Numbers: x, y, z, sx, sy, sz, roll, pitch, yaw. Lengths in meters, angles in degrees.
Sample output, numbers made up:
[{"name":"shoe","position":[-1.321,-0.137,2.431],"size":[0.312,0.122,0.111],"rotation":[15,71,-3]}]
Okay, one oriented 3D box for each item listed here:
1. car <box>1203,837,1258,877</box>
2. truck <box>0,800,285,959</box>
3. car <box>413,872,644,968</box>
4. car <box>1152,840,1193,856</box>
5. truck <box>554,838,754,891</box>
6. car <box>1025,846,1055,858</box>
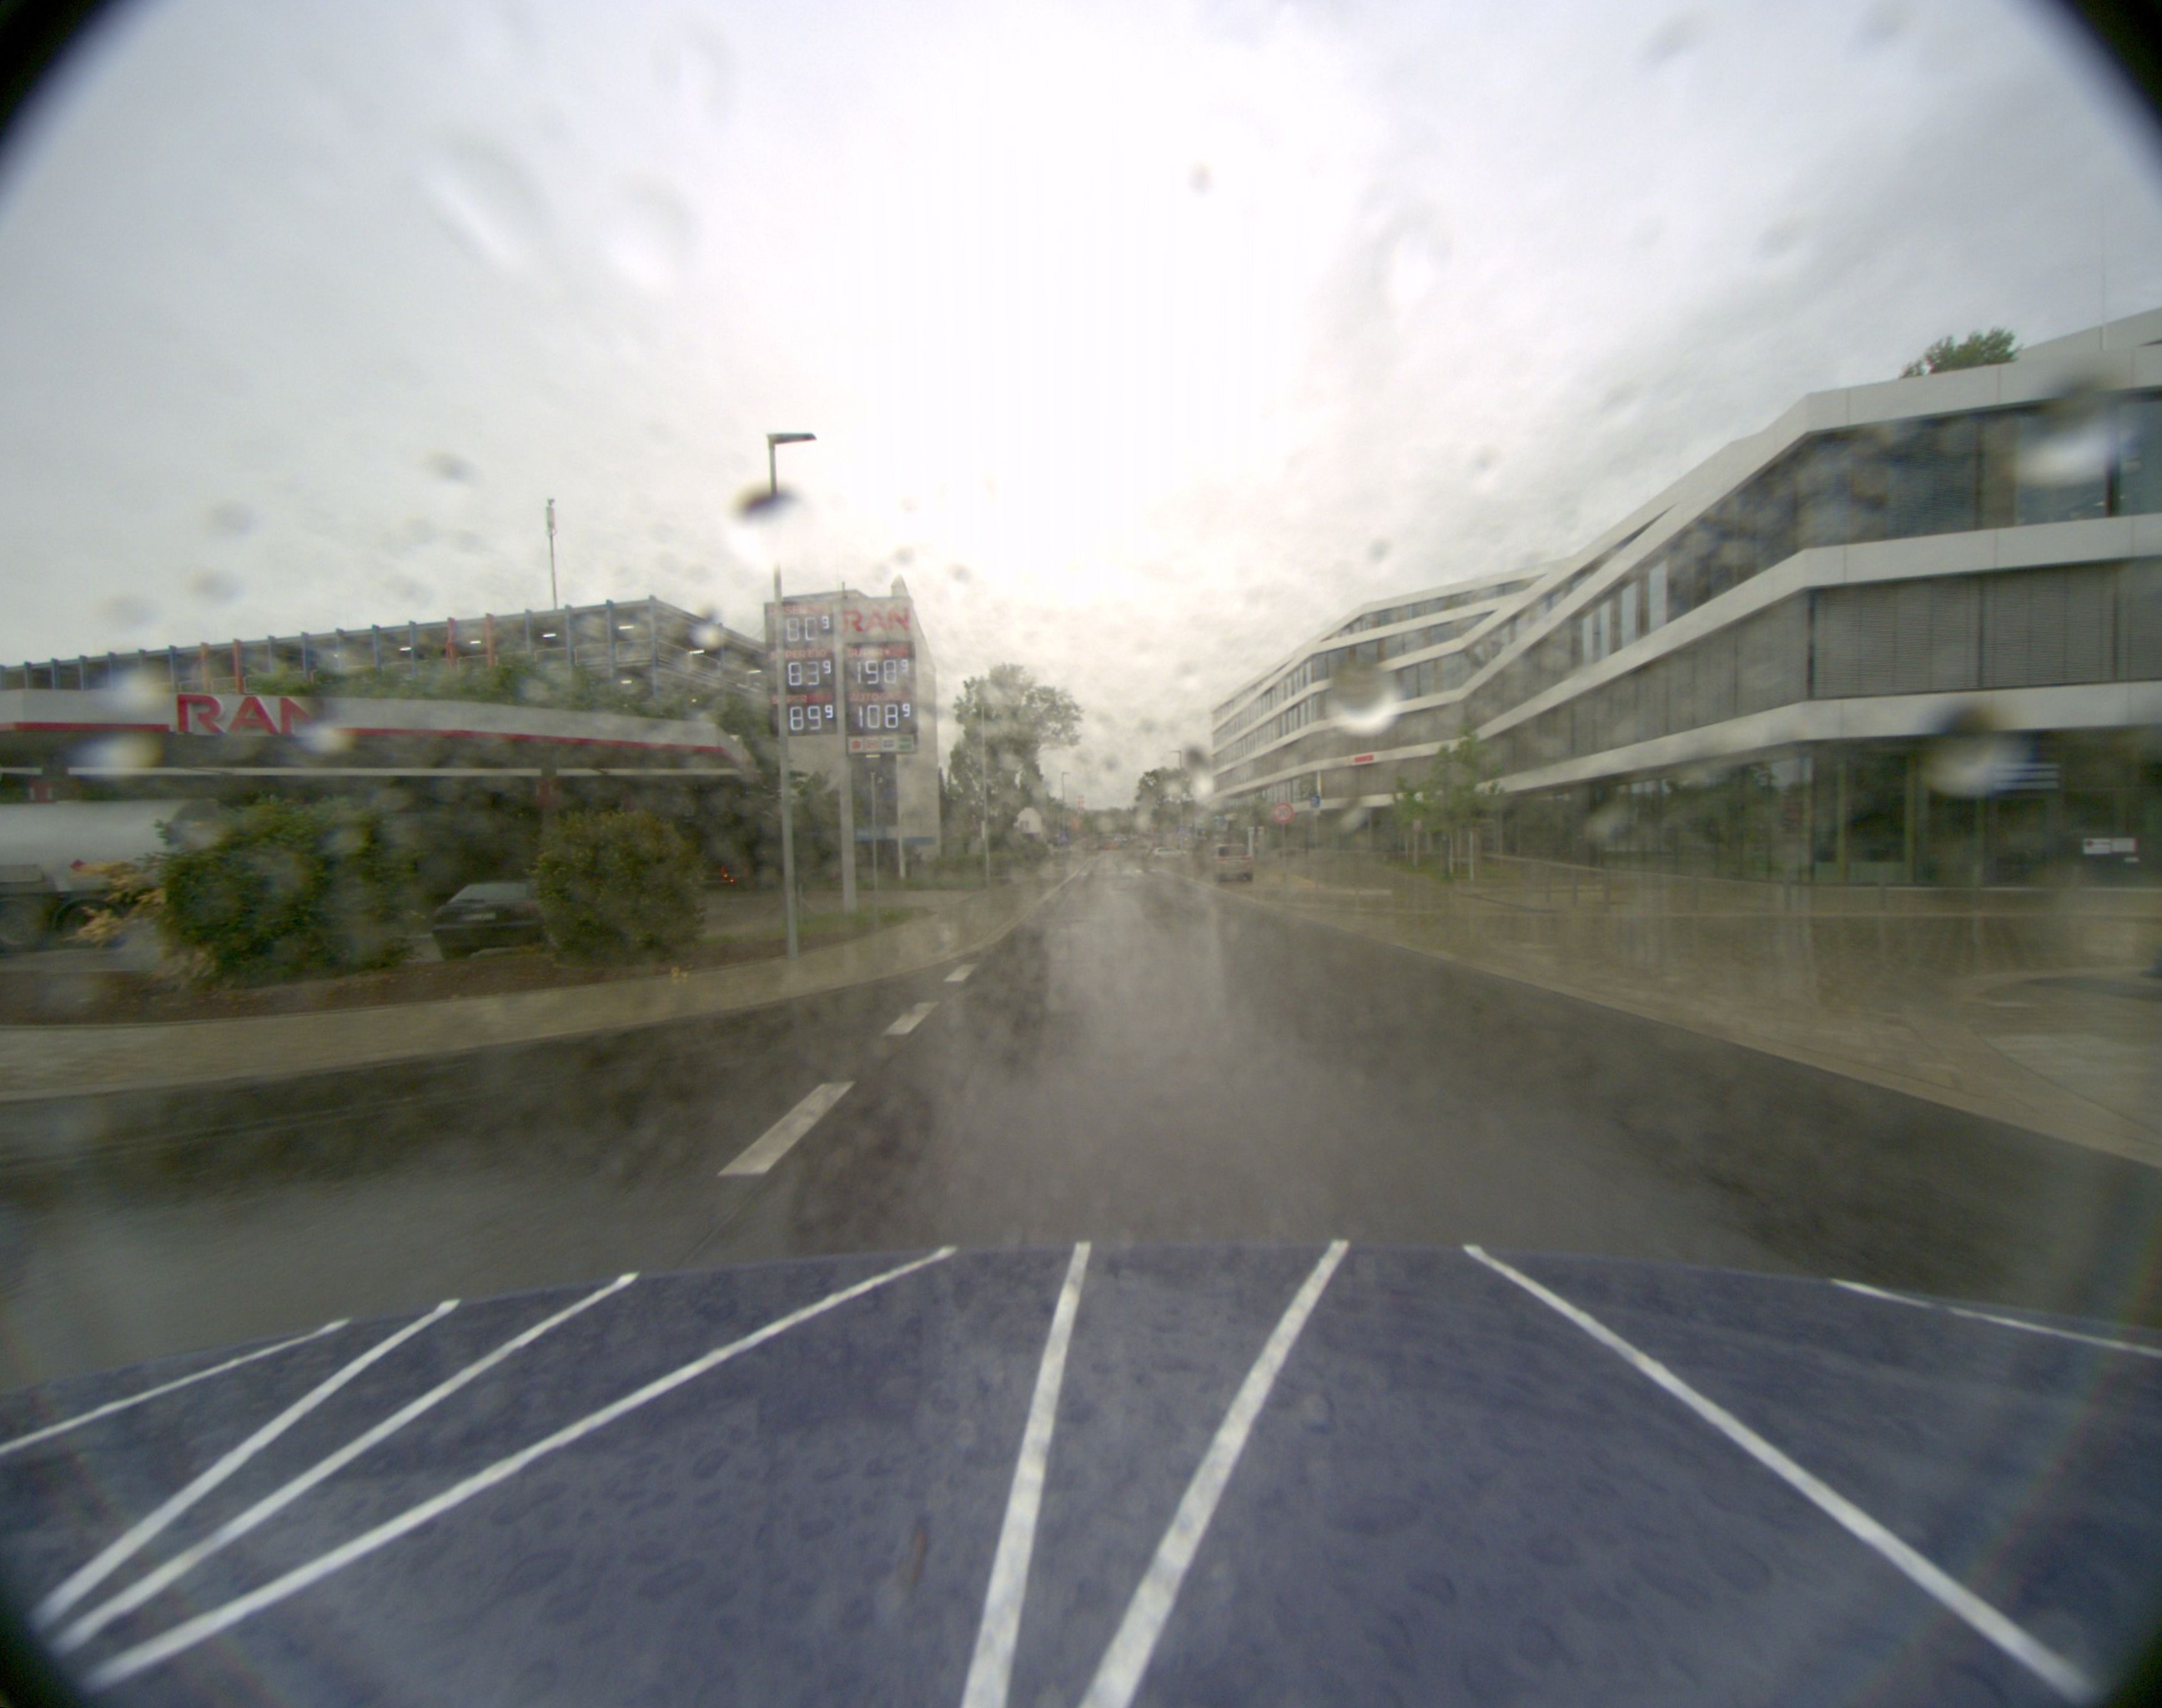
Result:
[{"name":"car","position":[6.859,0.114,35.252],"size":[1.841,1.696,4.323],"rotation":[-2,1,3]},{"name":"truck","position":[-27.348,0.799,16.585],"size":[14.420,3.339,2.645],"rotation":[-3,-1,-15]},{"name":"car","position":[-10.181,1.121,14.484],"size":[1.694,1.332,4.336],"rotation":[-2,1,-9]},{"name":"car","position":[9.734,-0.654,80.696],"size":[4.166,1.411,2.001],"rotation":[-3,1,6]},{"name":"truck","position":[-18.189,0.454,32.689],"size":[7.297,2.193,2.085],"rotation":[0,-2,-4]},{"name":"car","position":[-5.507,-0.271,102.084],"size":[3.998,1.445,1.868],"rotation":[-2,1,-2]}]
